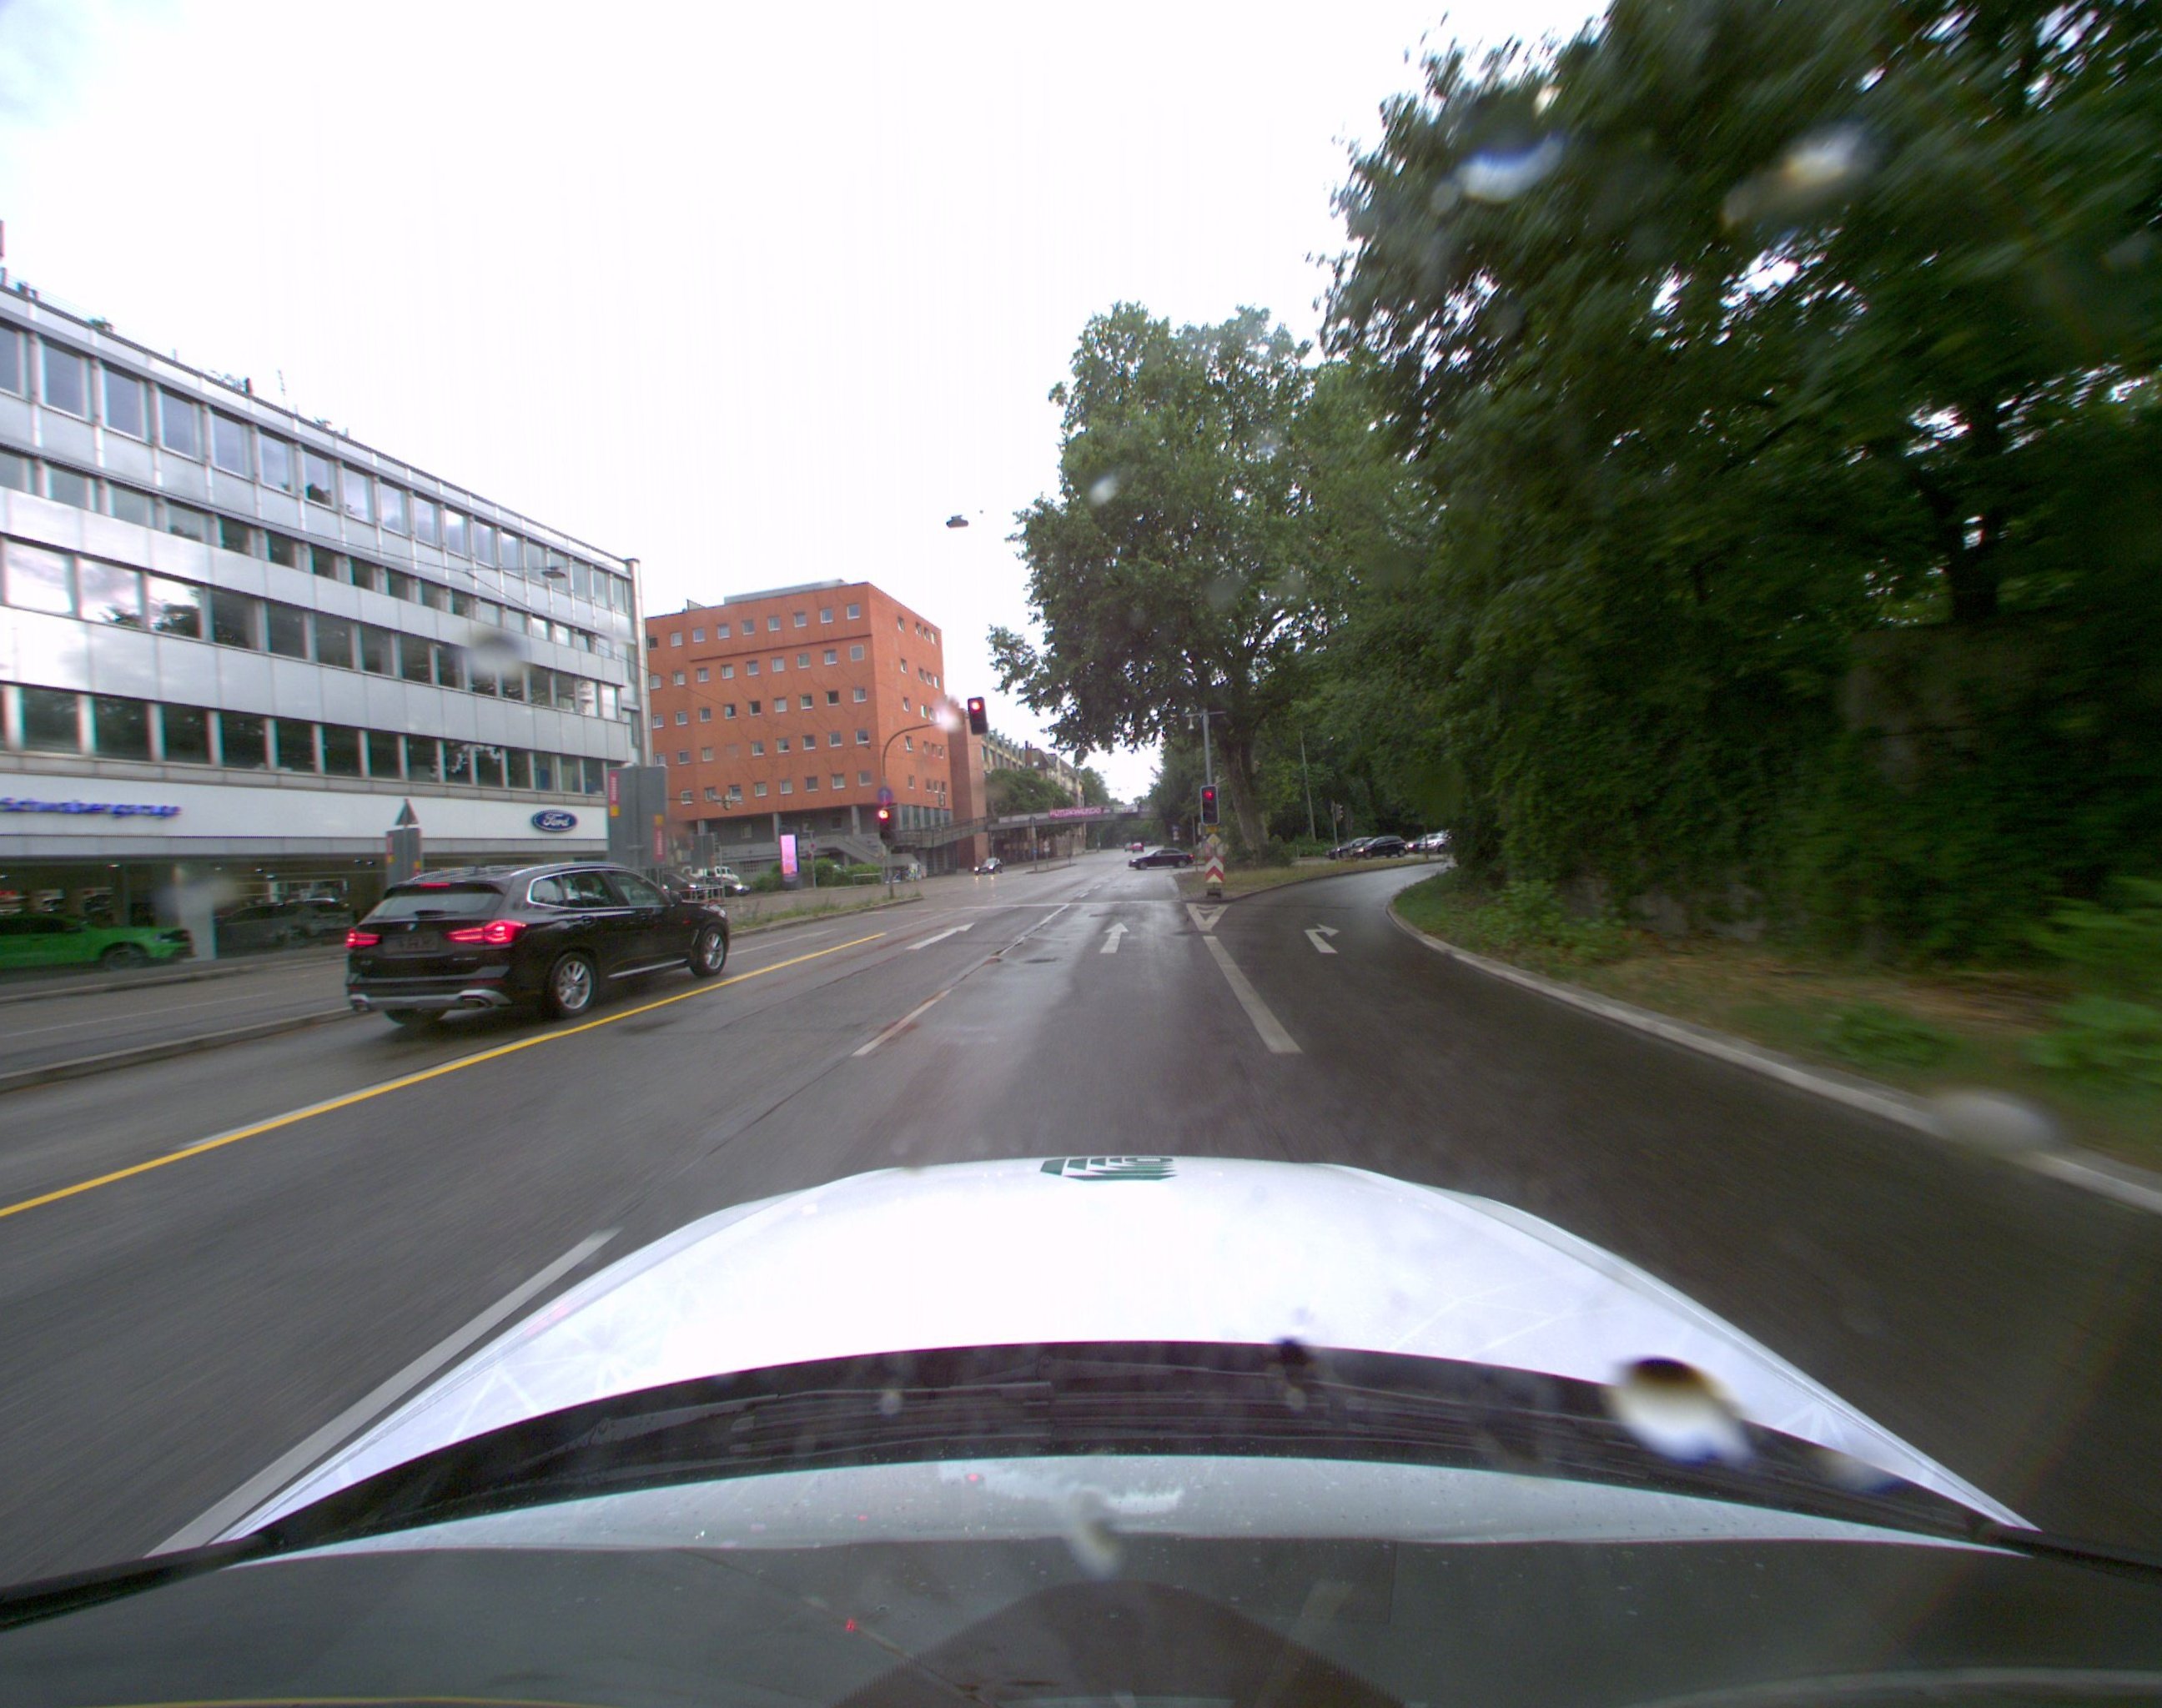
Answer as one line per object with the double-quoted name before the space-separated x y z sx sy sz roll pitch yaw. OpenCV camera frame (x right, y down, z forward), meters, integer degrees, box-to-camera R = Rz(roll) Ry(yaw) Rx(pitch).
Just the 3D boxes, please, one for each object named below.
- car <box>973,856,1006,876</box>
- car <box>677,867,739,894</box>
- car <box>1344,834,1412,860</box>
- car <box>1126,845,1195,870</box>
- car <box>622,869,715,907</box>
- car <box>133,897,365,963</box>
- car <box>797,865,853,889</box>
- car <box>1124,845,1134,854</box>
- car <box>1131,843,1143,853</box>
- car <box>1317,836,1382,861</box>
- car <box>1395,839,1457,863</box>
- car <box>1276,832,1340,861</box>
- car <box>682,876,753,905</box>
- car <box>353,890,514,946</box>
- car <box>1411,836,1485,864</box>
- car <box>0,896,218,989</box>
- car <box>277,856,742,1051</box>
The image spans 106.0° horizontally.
"car" -7.954 1.024 70.983 1.984 1.519 4.005 -4 0 5
"car" -29.796 2.104 65.249 1.980 2.013 4.868 0 0 13
"car" 19.665 -0.462 53.924 3.855 1.485 1.666 -3 -1 -11
"car" 5.606 0.247 57.966 4.593 1.451 1.772 -4 -1 -3
"car" -26.395 2.175 52.170 5.041 1.845 2.007 -6 -1 13
"car" -28.007 2.516 27.626 5.191 1.520 1.993 -5 0 -11
"car" -21.769 1.911 69.302 3.986 1.618 1.901 -6 0 13
"car" 10.010 -1.000 169.978 1.755 1.696 3.710 -5 0 4
"car" 10.072 -1.056 146.864 2.112 1.734 4.201 -2 1 2
"car" 19.075 -0.396 57.923 3.995 1.486 1.869 -3 0 -16
"car" 24.903 -0.242 58.795 3.831 1.486 1.736 -4 0 -16
"car" 18.049 -0.592 64.950 4.338 1.835 2.129 -5 0 -9
"car" -24.277 2.433 54.415 4.108 1.446 1.590 -6 0 12
"car" -26.603 2.595 33.613 4.751 1.738 1.996 -5 0 -6
"car" 25.112 -0.245 55.786 4.261 1.486 1.768 -5 0 -10
"car" -27.358 2.423 21.892 5.223 2.011 1.980 -5 -1 -31
"car" -6.150 0.914 9.699 1.939 1.597 4.676 -2 1 4
